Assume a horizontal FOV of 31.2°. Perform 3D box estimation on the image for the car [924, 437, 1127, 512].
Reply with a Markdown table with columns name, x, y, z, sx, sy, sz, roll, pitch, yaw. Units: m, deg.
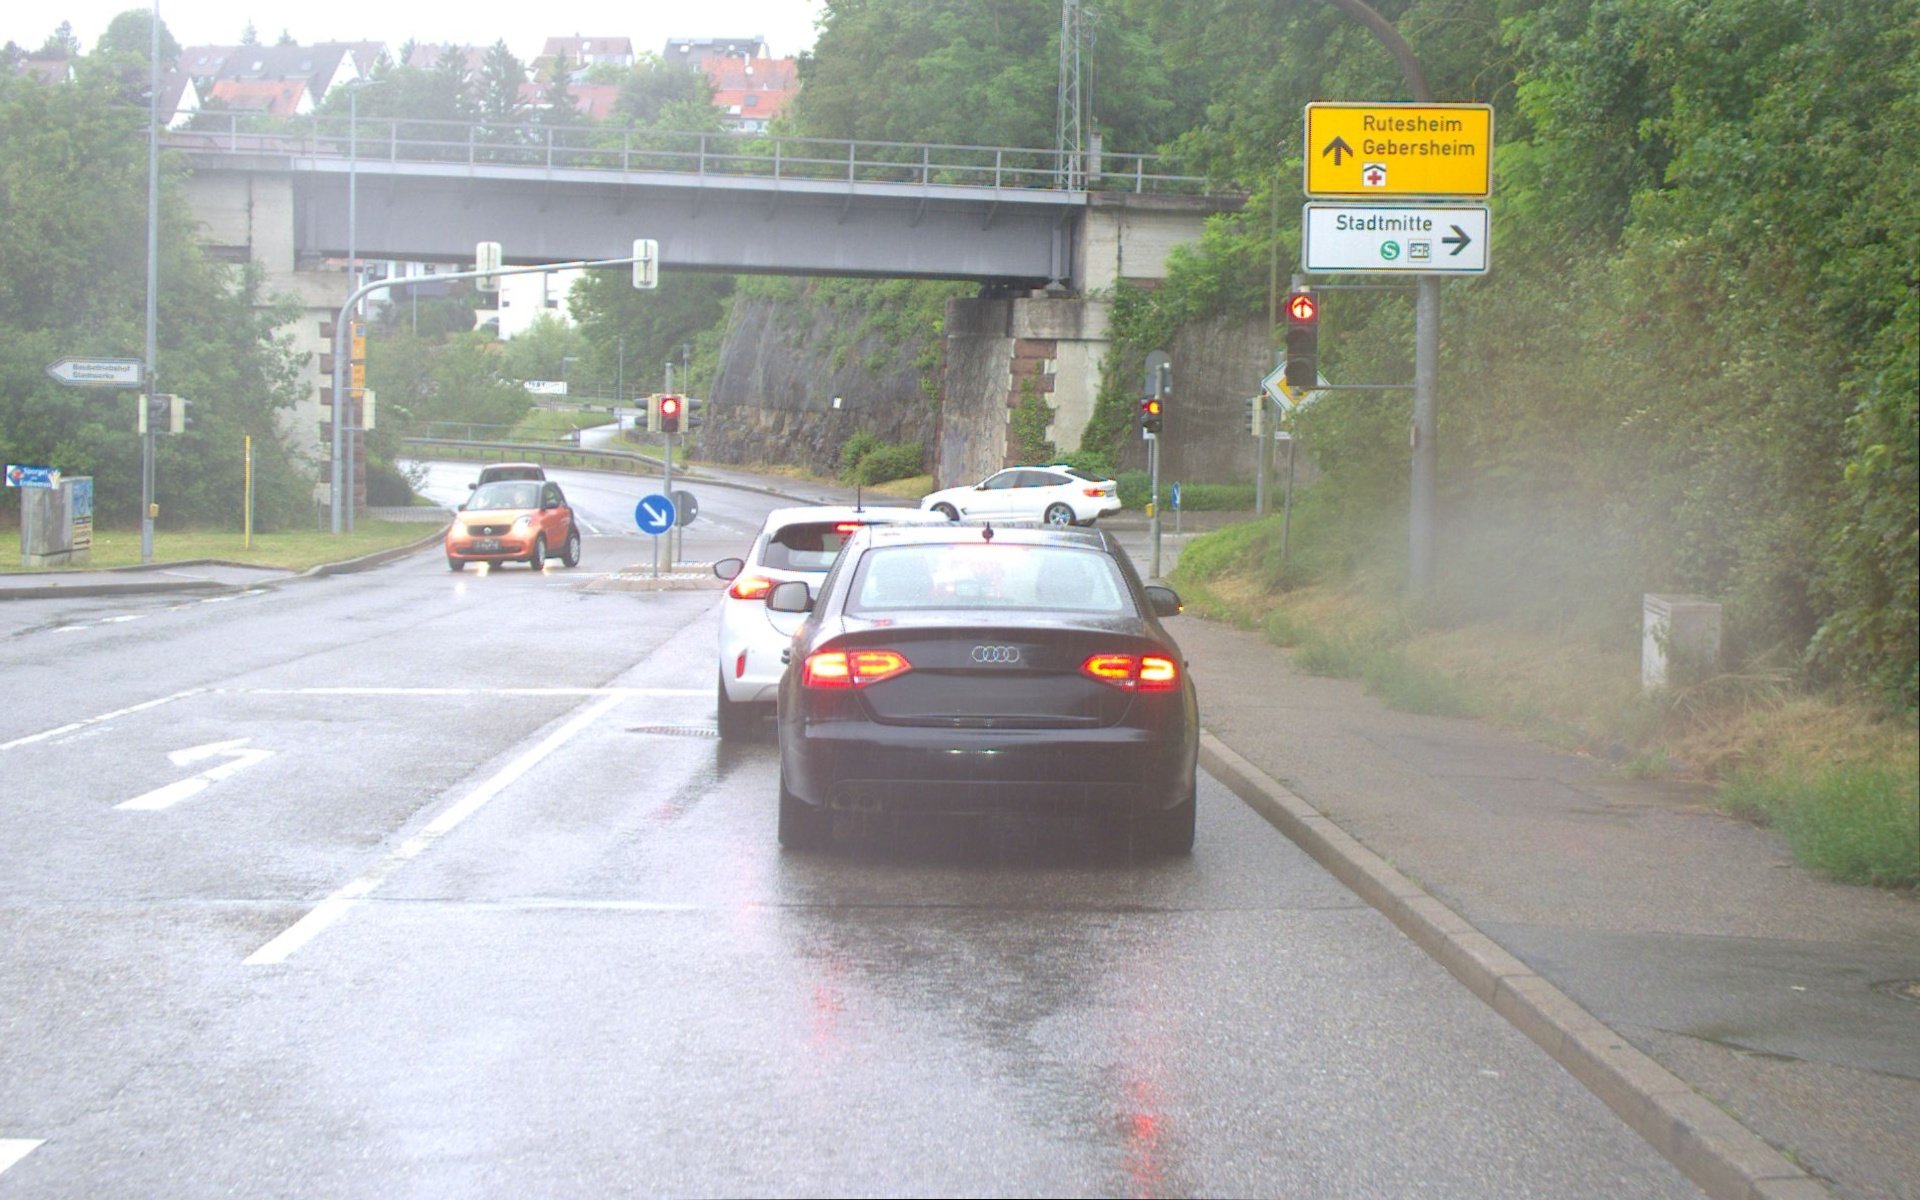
| name | x | y | z | sx | sy | sz | roll | pitch | yaw |
| --- | --- | --- | --- | --- | --- | --- | --- | --- | --- |
| car | 1.548 | -2.968 | 81.431 | 4.469 | 1.736 | 1.809 | 1 | 1 | 18 |

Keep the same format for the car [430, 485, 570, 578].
| name | x | y | z | sx | sy | sz | roll | pitch | yaw |
| --- | --- | --- | --- | --- | --- | --- | --- | --- | --- |
| car | -8.112 | -1.208 | 60.925 | 1.993 | 1.579 | 4.000 | 0 | 1 | -1 |

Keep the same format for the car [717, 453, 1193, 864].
| name | x | y | z | sx | sy | sz | roll | pitch | yaw |
| --- | --- | --- | --- | --- | --- | --- | --- | --- | --- |
| car | -0.052 | 0.167 | 15.540 | 1.870 | 1.611 | 4.001 | 0 | 2 | -1 |

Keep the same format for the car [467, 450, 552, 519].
| name | x | y | z | sx | sy | sz | roll | pitch | yaw |
| --- | --- | --- | --- | --- | --- | --- | --- | --- | --- |
| car | -10.959 | -2.807 | 83.632 | 1.993 | 1.622 | 4.001 | 0 | 2 | -8 |

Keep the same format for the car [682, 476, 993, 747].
| name | x | y | z | sx | sy | sz | roll | pitch | yaw |
| --- | --- | --- | --- | --- | --- | --- | --- | --- | --- |
| car | -0.756 | 0.038 | 22.276 | 1.823 | 1.579 | 4.000 | 0 | 1 | -1 |
